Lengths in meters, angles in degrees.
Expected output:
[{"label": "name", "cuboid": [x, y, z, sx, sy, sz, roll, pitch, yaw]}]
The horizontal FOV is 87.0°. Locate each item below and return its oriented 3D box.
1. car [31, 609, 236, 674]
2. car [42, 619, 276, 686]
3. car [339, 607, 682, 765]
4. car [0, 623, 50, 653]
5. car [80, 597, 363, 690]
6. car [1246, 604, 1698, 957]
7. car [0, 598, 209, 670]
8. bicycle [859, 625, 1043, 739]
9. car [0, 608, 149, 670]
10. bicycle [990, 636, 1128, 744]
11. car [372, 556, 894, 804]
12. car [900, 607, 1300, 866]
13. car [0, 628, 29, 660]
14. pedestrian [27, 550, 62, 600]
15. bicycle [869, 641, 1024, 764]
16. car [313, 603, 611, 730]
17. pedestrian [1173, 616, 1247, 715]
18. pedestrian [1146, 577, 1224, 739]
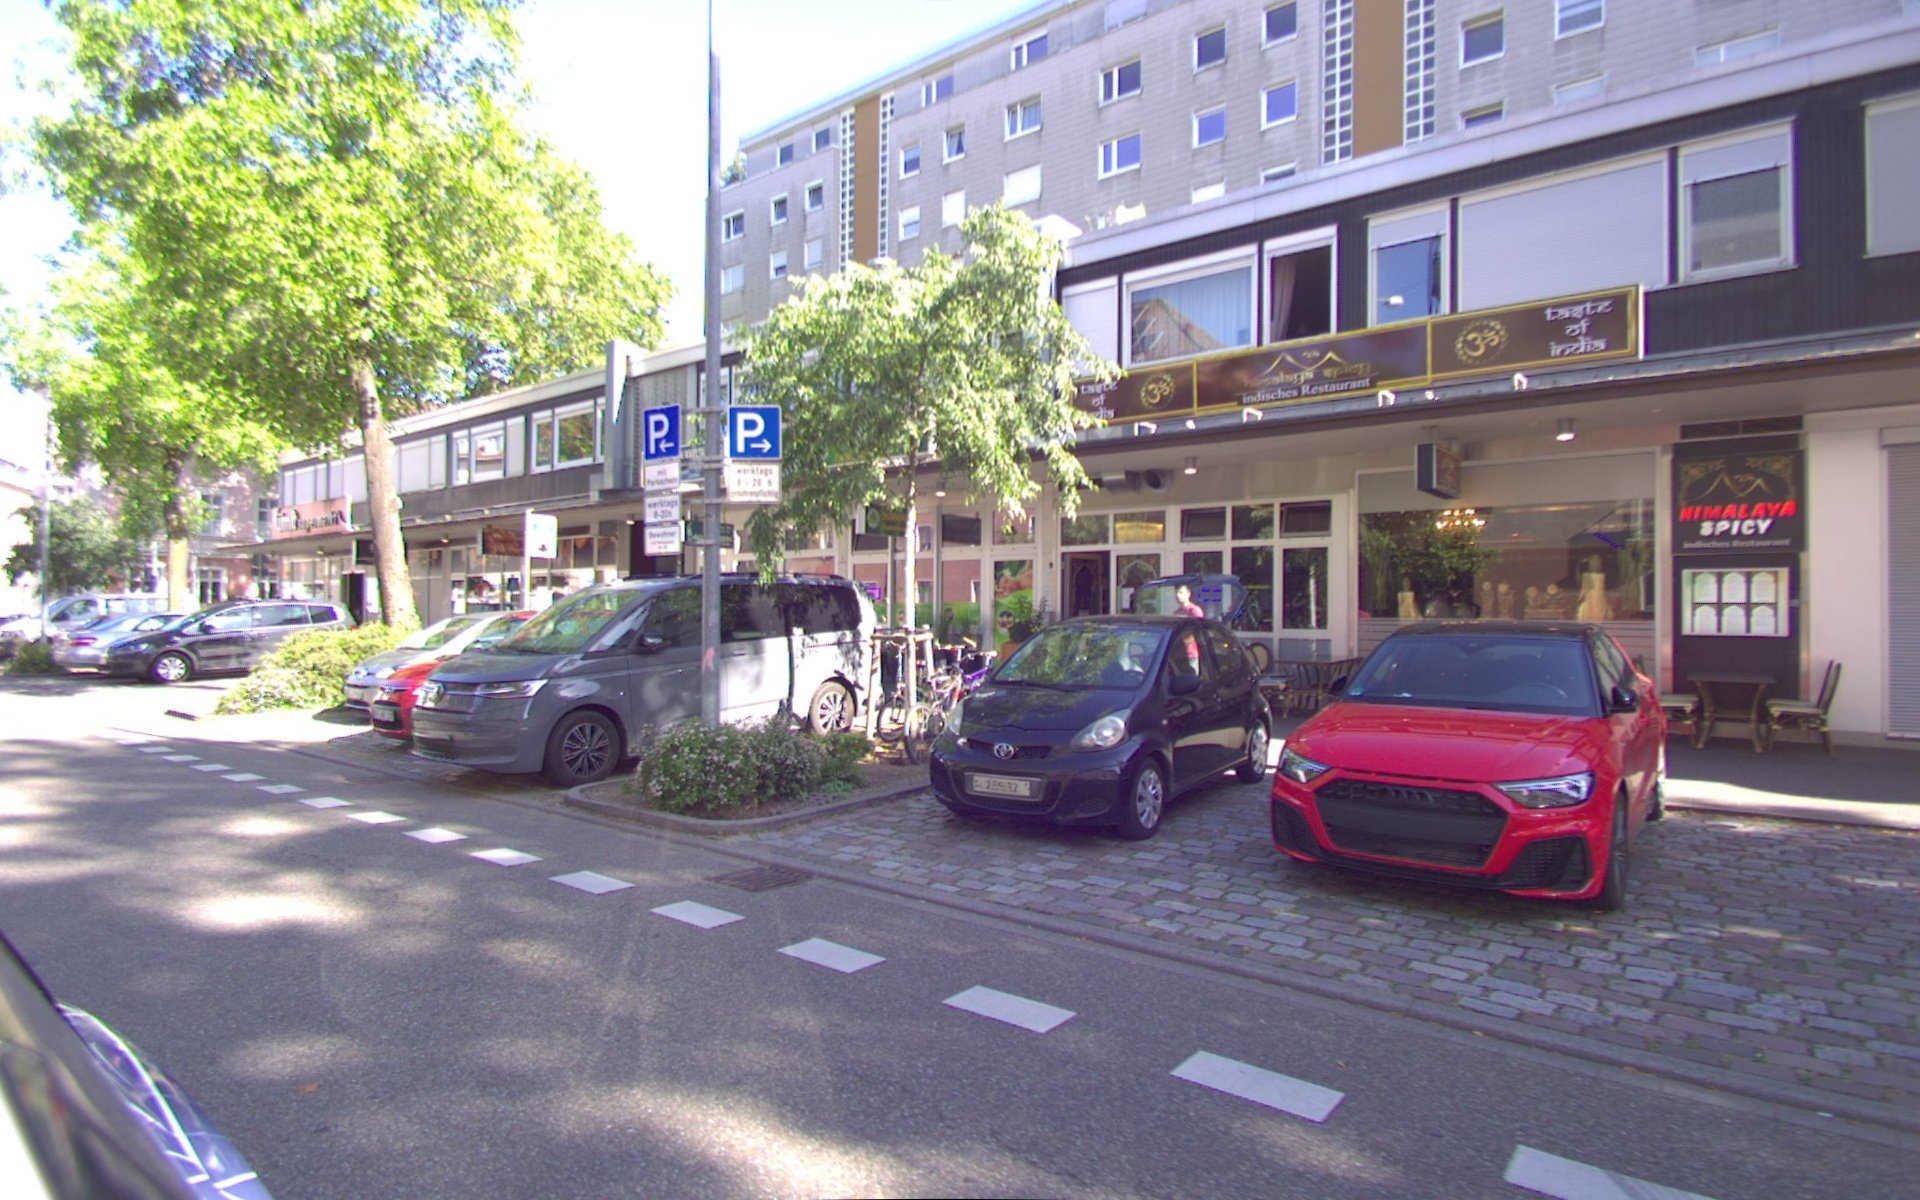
[{"label": "car", "cuboid": [-22.121, 1.046, 27.231, 1.734, 1.431, 3.951, -1, 2, 36]}, {"label": "car", "cuboid": [-18.479, 1.142, 23.501, 1.756, 1.409, 3.951, -1, -1, 36]}, {"label": "car", "cuboid": [-5.318, 0.906, 12.385, 1.656, 1.566, 3.531, -1, 0, 31]}, {"label": "car", "cuboid": [-54.943, 2.200, 59.221, 1.482, 1.674, 4.013, 1, -2, -27]}, {"label": "car", "cuboid": [-16.154, 0.862, 22.396, 1.871, 1.790, 4.725, -1, 0, 36]}, {"label": "car", "cuboid": [3.440, 0.790, 6.388, 1.709, 1.461, 3.878, -1, 0, 40]}, {"label": "car", "cuboid": [-25.710, 0.938, 30.213, 1.906, 1.984, 4.937, -1, 0, 36]}, {"label": "bicycle", "cuboid": [-0.059, 0.880, 11.594, 0.801, 1.176, 2.211, -1, -2, 44]}, {"label": "car", "cuboid": [-27.965, 1.174, 31.498, 1.755, 1.805, 3.949, -1, -1, 37]}, {"label": "bicycle", "cuboid": [1.116, 0.936, 11.037, 0.614, 1.047, 1.844, -1, -2, 38]}, {"label": "car", "cuboid": [-3.049, 0.613, 10.532, 1.871, 1.953, 4.982, -1, 0, 38]}, {"label": "car", "cuboid": [1.294, 0.821, 7.902, 1.609, 1.461, 3.634, -1, 0, 35]}, {"label": "car", "cuboid": [-52.438, 2.362, 55.000, 1.645, 1.650, 4.061, 1, -1, -28]}, {"label": "pedestrian", "cuboid": [-31.104, -0.845, 34.385, 0.807, 1.652, 0.718, -1, -2, 38]}, {"label": "bicycle", "cuboid": [-0.084, 0.953, 9.975, 0.613, 1.047, 1.847, -1, -1, 33]}, {"label": "car", "cuboid": [-7.181, 0.869, 14.854, 1.671, 1.573, 3.551, -1, 0, 39]}, {"label": "pedestrian", "cuboid": [3.301, 0.839, 13.353, 0.746, 1.255, 0.643, -1, -2, 39]}, {"label": "pedestrian", "cuboid": [2.496, 0.627, 11.247, 0.571, 1.725, 0.637, 1, -1, -23]}]
